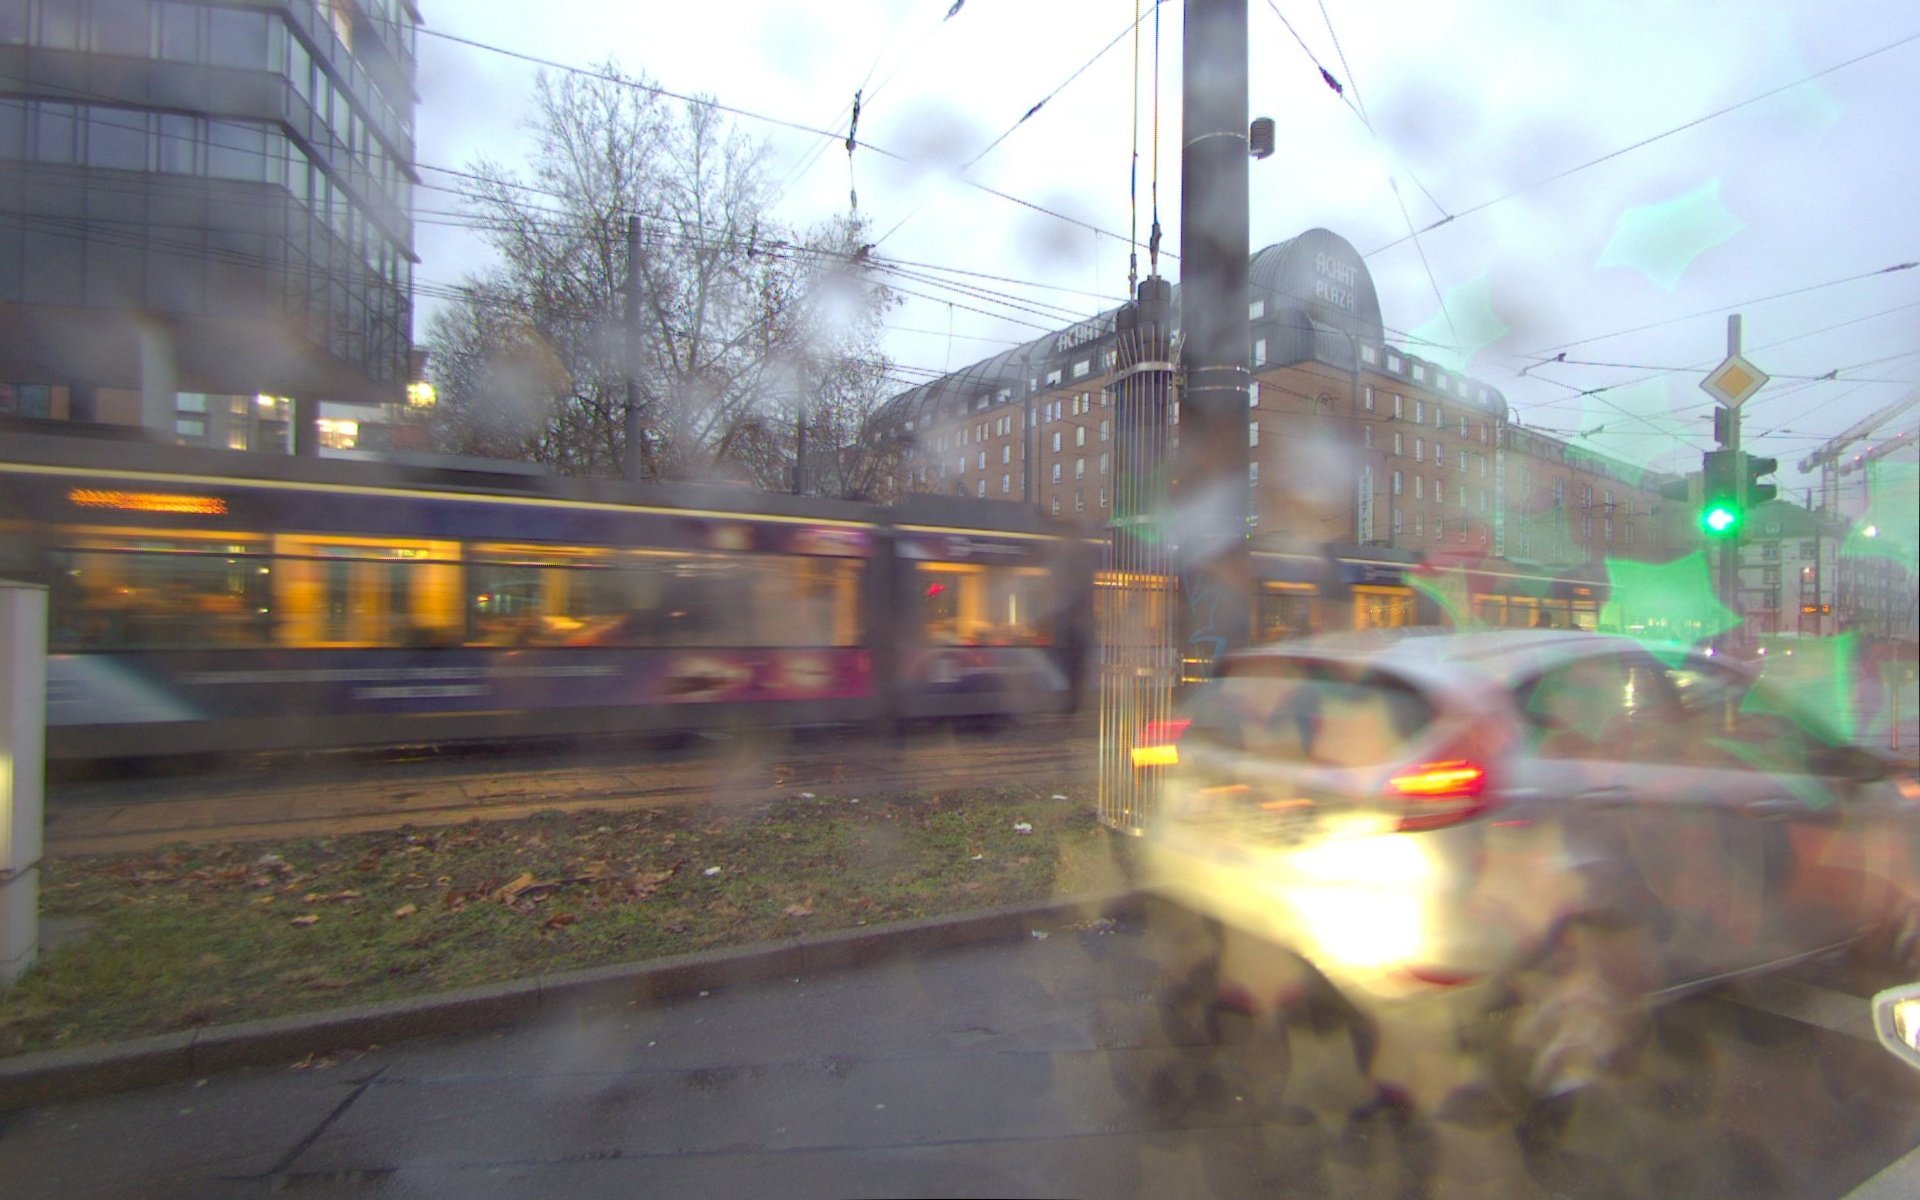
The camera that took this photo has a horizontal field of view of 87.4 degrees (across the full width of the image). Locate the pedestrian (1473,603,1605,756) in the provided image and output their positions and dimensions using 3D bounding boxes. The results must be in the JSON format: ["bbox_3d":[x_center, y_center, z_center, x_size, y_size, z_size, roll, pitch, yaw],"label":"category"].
[{"bbox_3d":[6.372,0.867,11.088,1.019,1.621,0.714,1,-3,-12],"label":"pedestrian"}]

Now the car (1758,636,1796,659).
[{"bbox_3d":[62.679,3.638,77.053,3.839,1.645,1.769,2,-1,-43],"label":"car"}]

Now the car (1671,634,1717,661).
[{"bbox_3d":[47.637,3.077,65.170,3.839,1.645,1.769,2,-1,-43],"label":"car"}]

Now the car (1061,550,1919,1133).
[{"bbox_3d":[2.553,0.753,4.276,3.953,1.466,1.698,4,-3,-30],"label":"car"}]

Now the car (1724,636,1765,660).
[{"bbox_3d":[56.444,3.406,72.280,3.839,1.645,1.769,2,-1,-43],"label":"car"}]

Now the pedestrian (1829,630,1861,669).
[{"bbox_3d":[46.558,2.600,52.868,0.820,2.040,0.980,1,-1,-15],"label":"pedestrian"}]

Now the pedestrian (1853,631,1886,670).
[{"bbox_3d":[47.949,2.649,52.968,0.820,2.040,0.980,1,-1,-15],"label":"pedestrian"}]

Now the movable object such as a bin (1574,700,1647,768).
[{"bbox_3d":[7.166,1.468,11.075,0.528,0.708,0.412,1,-3,-7],"label":"movable object such as a bin"}]

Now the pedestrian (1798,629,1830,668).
[{"bbox_3d":[45.020,2.552,52.960,0.820,2.040,0.980,1,-1,-15],"label":"pedestrian"}]

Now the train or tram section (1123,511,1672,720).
[{"bbox_3d":[11.778,0.540,24.335,19.024,3.662,2.846,2,-2,-36],"label":"train or tram section"}]

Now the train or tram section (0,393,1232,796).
[{"bbox_3d":[-4.387,0.119,13.519,19.847,3.662,2.849,2,-2,-32],"label":"train or tram section"}]
